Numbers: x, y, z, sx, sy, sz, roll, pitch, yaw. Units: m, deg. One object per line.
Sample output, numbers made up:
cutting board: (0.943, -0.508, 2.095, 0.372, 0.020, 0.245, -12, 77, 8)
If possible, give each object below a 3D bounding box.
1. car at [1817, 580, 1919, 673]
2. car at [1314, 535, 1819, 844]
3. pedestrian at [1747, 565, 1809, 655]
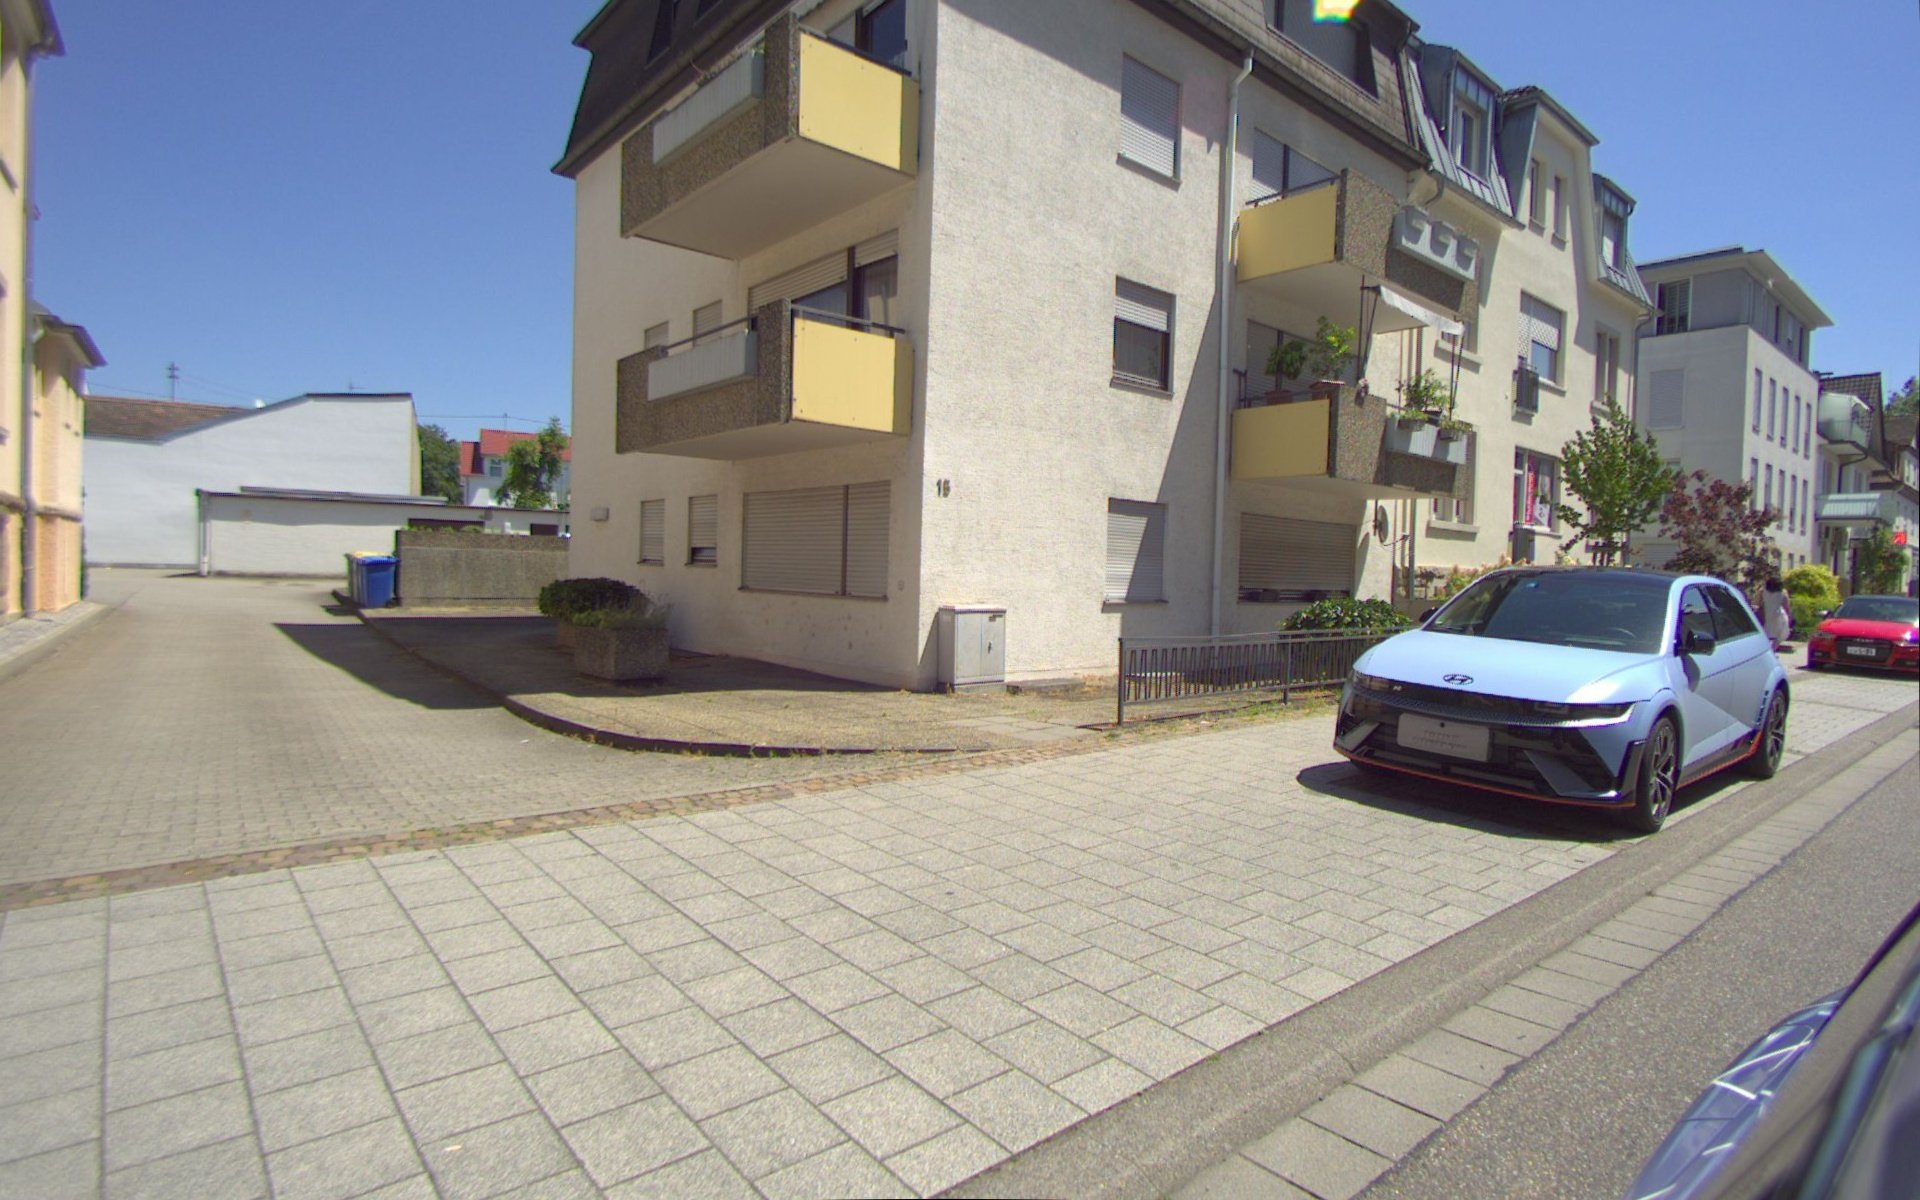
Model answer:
car: (17.341, 0.447, 18.662, 3.784, 1.458, 1.608, 0, 5, -39)
car: (4.702, 0.436, 7.573, 4.348, 1.639, 1.848, 0, 4, -40)
pedestrian: (16.117, 0.189, 19.942, 0.694, 1.689, 0.742, 0, 4, -41)
